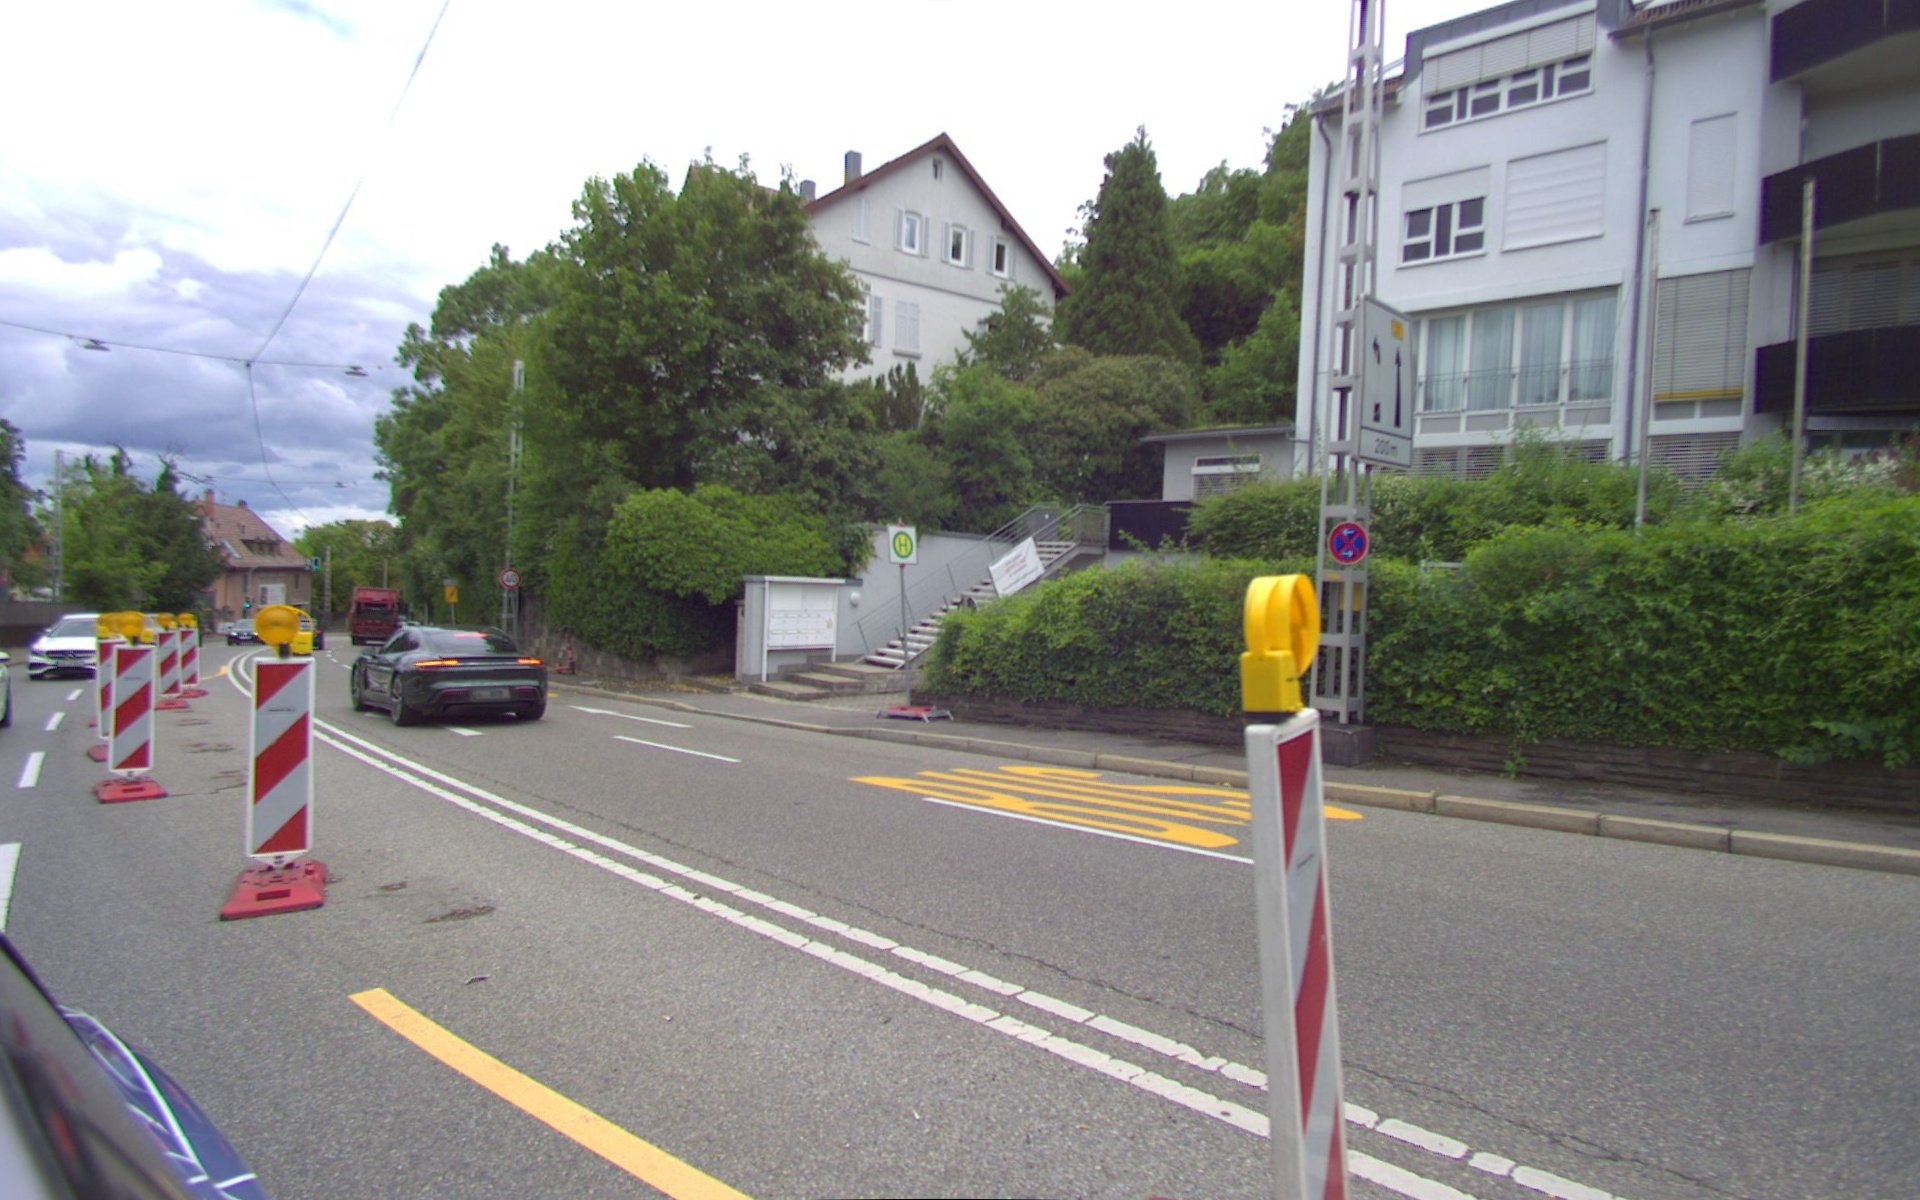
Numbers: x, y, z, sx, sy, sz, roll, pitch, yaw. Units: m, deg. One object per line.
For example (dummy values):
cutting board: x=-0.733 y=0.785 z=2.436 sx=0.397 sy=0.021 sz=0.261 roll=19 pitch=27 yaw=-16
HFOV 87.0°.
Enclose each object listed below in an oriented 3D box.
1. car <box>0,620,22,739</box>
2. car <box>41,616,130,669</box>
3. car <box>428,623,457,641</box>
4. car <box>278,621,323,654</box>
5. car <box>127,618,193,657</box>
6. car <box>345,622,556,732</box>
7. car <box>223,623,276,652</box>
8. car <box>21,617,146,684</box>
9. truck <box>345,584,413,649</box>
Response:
car: x=-12.599 y=0.979 z=11.998 sx=1.764 sy=1.492 sz=4.253 roll=1 pitch=-2 yaw=-38
car: x=-28.238 y=1.339 z=32.783 sx=1.764 sy=1.563 sz=4.255 roll=0 pitch=-1 yaw=-35
car: x=-55.984 y=3.463 z=109.518 sx=1.963 sy=1.920 sz=4.257 roll=3 pitch=-3 yaw=-17
car: x=-31.432 y=1.768 z=48.308 sx=1.690 sy=1.472 sz=4.011 roll=2 pitch=-3 yaw=-32
car: x=-32.841 y=1.518 z=41.652 sx=1.770 sy=1.522 sz=4.010 roll=2 pitch=-2 yaw=-34
car: x=-7.799 y=1.069 z=15.264 sx=1.798 sy=1.402 sz=4.444 roll=3 pitch=-3 yaw=-40
car: x=-39.913 y=2.083 z=56.906 sx=1.762 sy=1.492 sz=4.258 roll=0 pitch=-1 yaw=-26
car: x=-21.464 y=1.180 z=24.933 sx=1.763 sy=1.492 sz=4.256 roll=1 pitch=-2 yaw=-34
truck: x=-37.071 y=1.160 z=64.890 sx=2.820 sy=3.726 sz=9.688 roll=4 pitch=-3 yaw=-25
